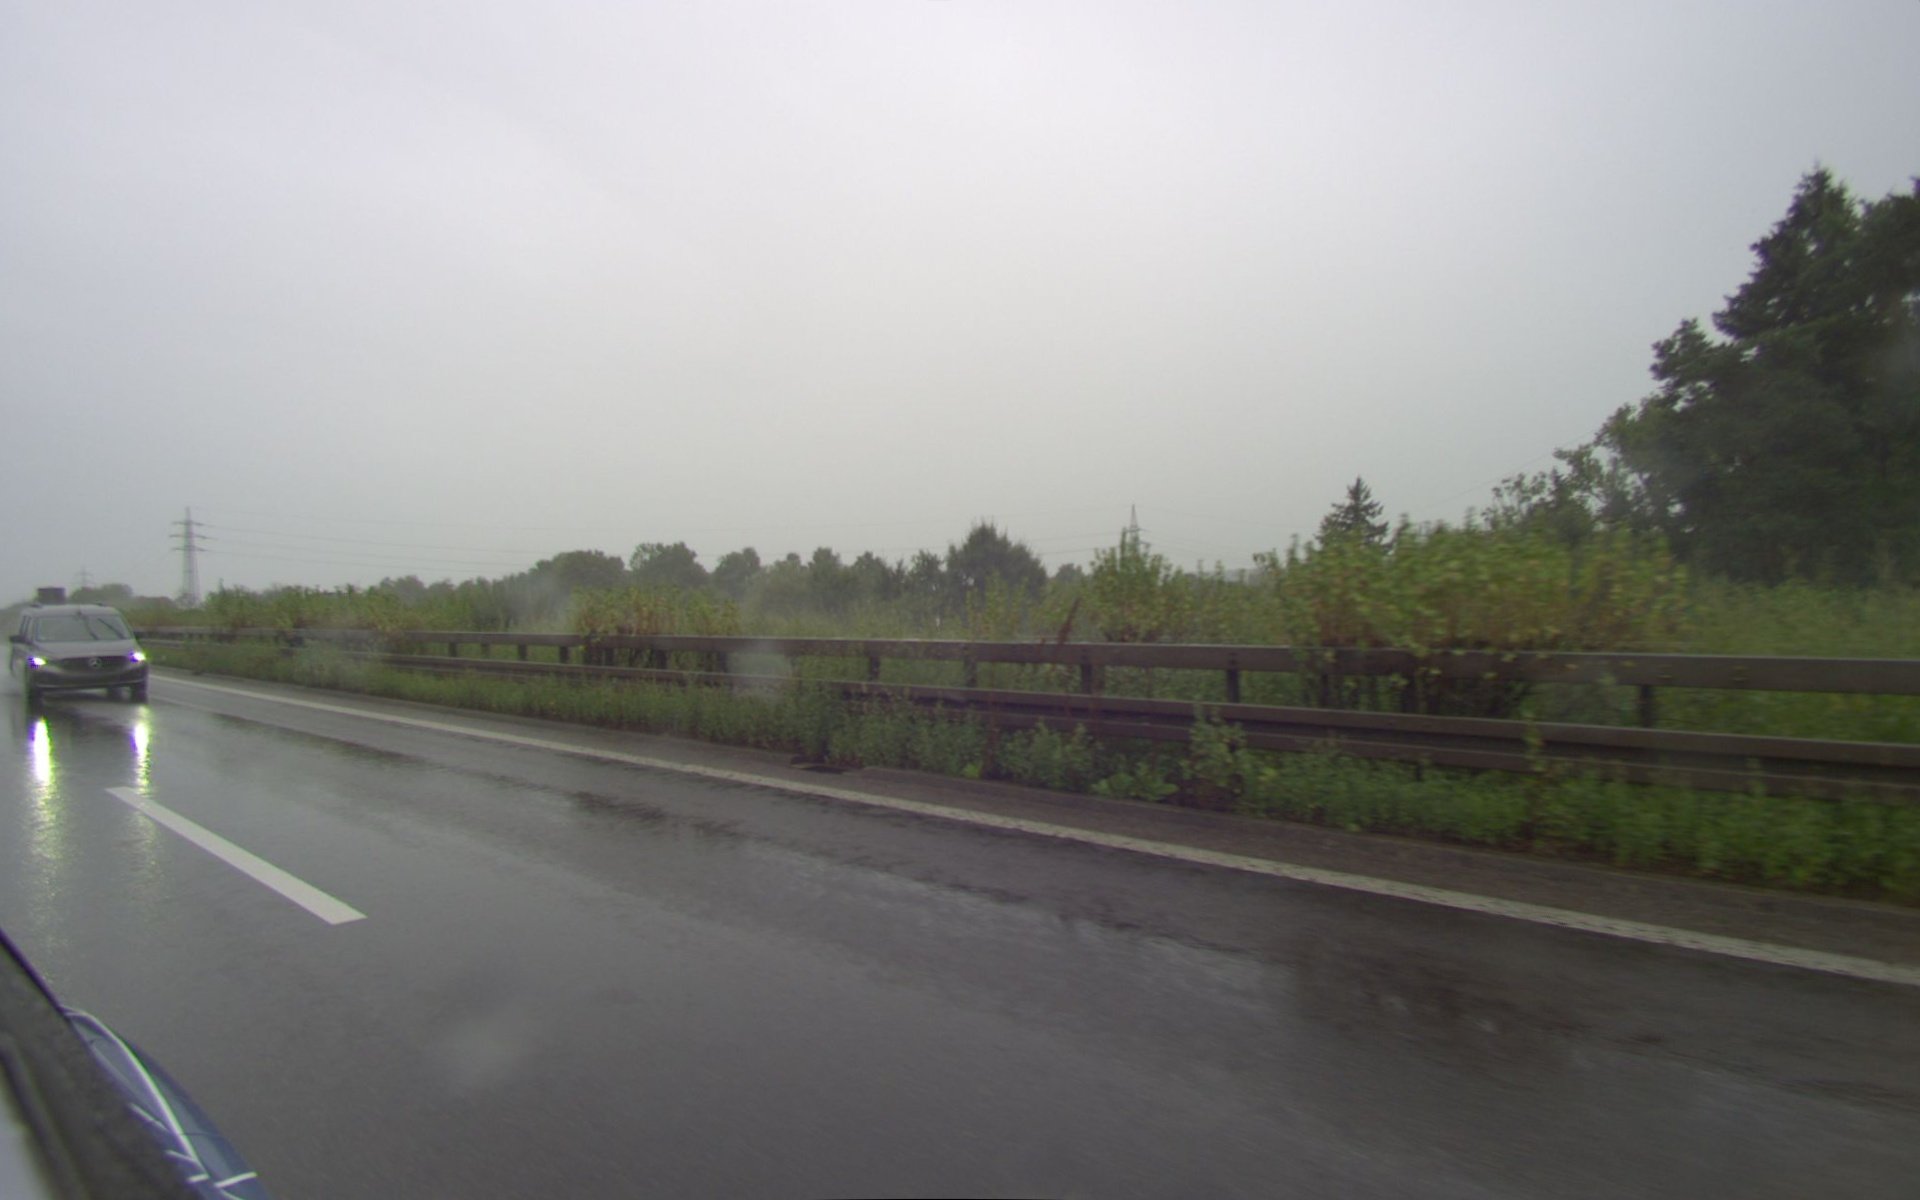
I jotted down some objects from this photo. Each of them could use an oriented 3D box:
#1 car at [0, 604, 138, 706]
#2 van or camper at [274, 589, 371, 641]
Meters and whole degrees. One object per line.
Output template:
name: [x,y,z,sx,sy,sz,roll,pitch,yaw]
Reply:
car: [-17.987,1.010,20.175,4.502,1.787,2.019,-1,-1,45]
van or camper: [-41.356,0.984,65.490,9.512,3.109,2.857,-2,-1,42]
